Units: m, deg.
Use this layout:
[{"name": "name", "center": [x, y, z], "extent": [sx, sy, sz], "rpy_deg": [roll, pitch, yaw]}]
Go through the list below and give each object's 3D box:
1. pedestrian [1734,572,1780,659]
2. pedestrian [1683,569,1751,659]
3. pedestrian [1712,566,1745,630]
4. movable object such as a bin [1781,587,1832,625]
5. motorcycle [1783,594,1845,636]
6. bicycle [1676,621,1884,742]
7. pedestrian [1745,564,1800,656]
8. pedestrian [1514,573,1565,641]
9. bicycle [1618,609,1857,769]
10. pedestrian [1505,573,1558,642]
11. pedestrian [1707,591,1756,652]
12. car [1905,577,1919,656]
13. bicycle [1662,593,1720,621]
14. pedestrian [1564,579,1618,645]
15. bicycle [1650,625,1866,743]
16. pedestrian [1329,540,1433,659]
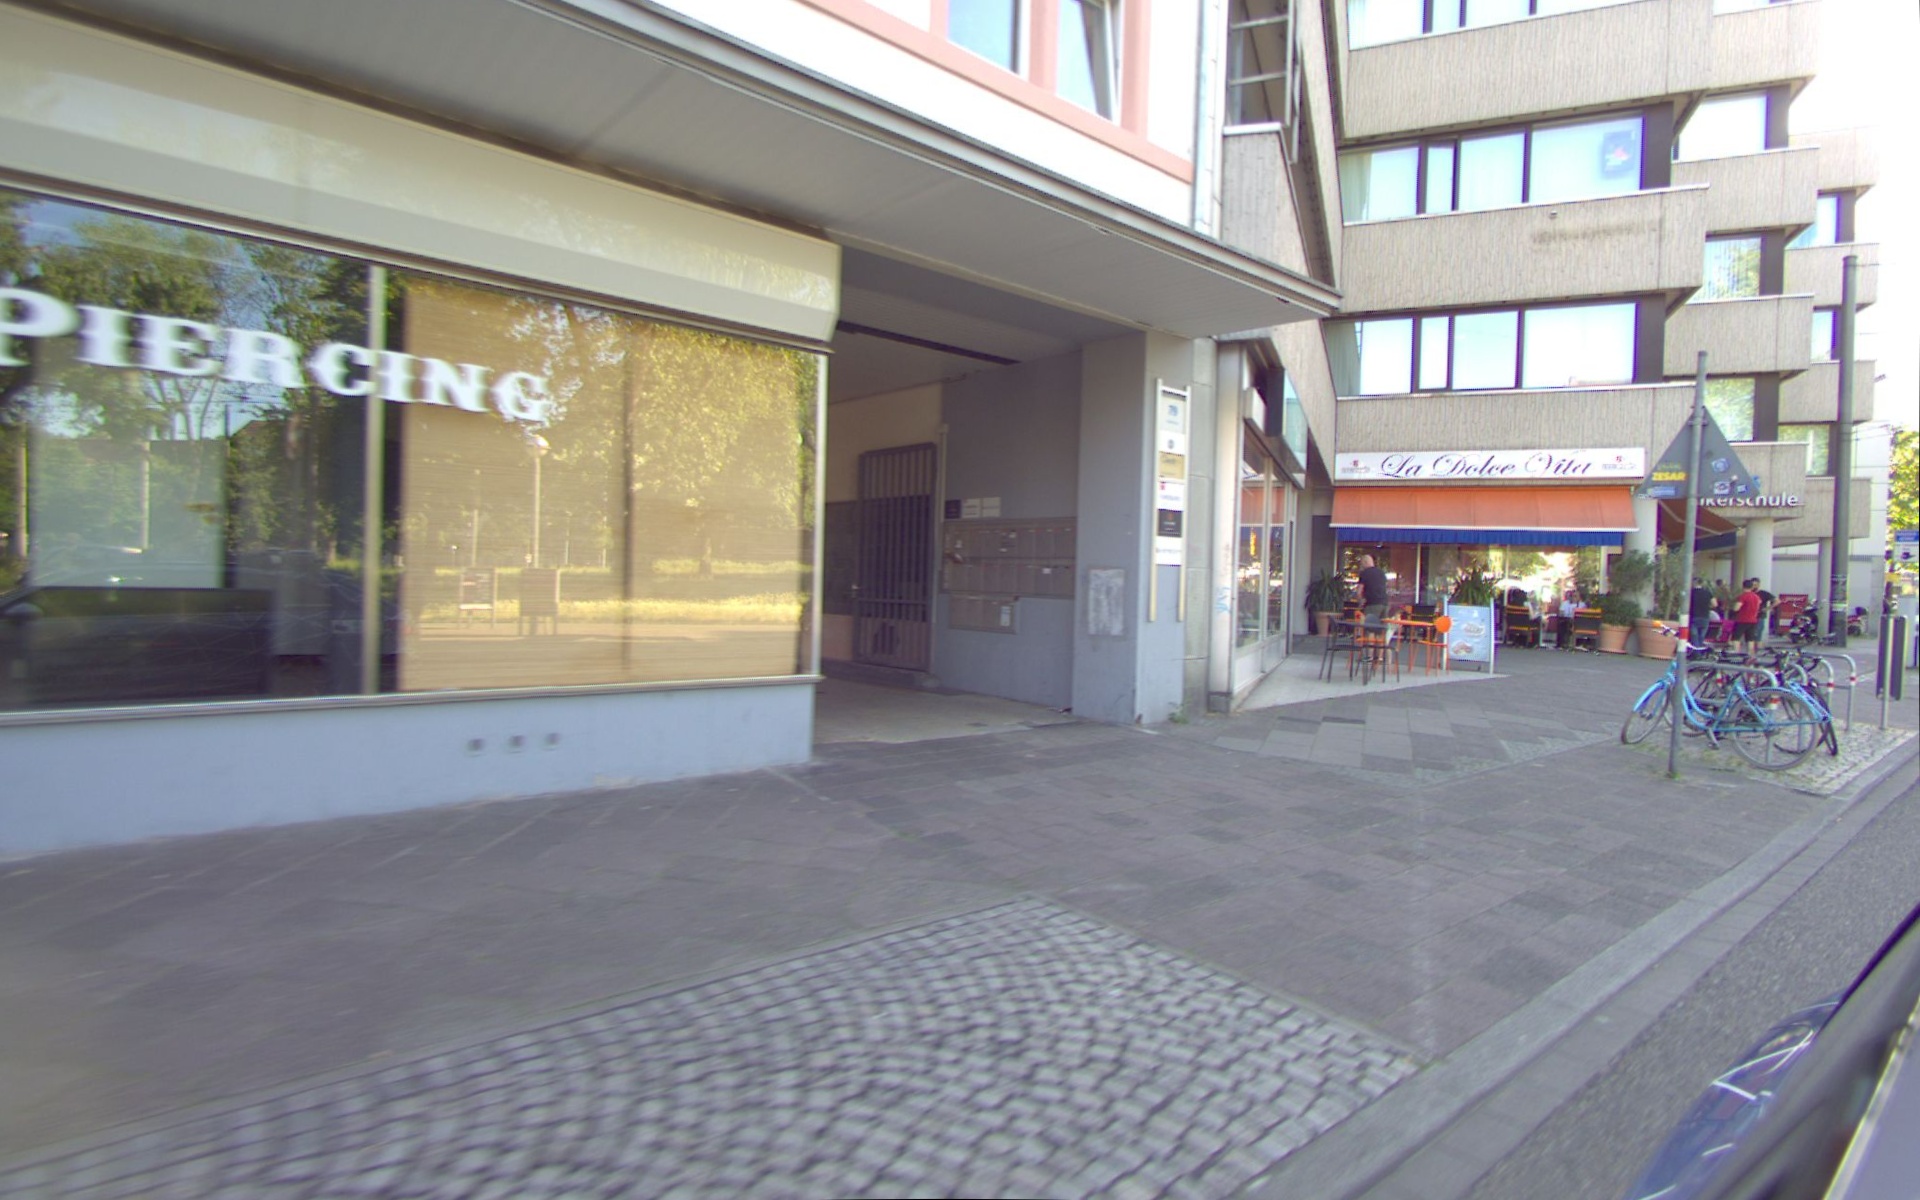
[{"name": "pedestrian", "center": [16.319, 0.298, 20.725], "extent": [0.685, 1.736, 0.585], "rpy_deg": [-1, 1, -38]}, {"name": "pedestrian", "center": [15.210, 0.267, 20.353], "extent": [0.834, 1.731, 0.715], "rpy_deg": [3, 2, 21]}, {"name": "pedestrian", "center": [22.339, -0.074, 29.414], "extent": [0.700, 1.838, 0.708], "rpy_deg": [0, 1, 33]}, {"name": "movable object such as a bin", "center": [33.141, 0.214, 39.639], "extent": [0.940, 1.451, 1.305], "rpy_deg": [-1, 1, -33]}, {"name": "motorcycle", "center": [25.921, 0.448, 30.714], "extent": [2.007, 1.168, 0.767], "rpy_deg": [-1, 4, -31]}, {"name": "bicycle", "center": [8.342, 0.785, 10.379], "extent": [0.336, 1.075, 1.688], "rpy_deg": [-1, 1, -24]}, {"name": "pedestrian", "center": [17.070, 0.189, 21.260], "extent": [0.599, 1.878, 0.673], "rpy_deg": [-1, 4, -37]}, {"name": "pedestrian", "center": [12.536, 0.139, 21.913], "extent": [0.835, 1.420, 0.824], "rpy_deg": [1, 0, 24]}, {"name": "bicycle", "center": [6.977, 0.739, 9.185], "extent": [0.645, 1.258, 1.630], "rpy_deg": [-1, 1, -20]}, {"name": "pedestrian", "center": [11.943, 0.154, 21.169], "extent": [0.833, 1.420, 0.748], "rpy_deg": [0, 0, 20]}, {"name": "pedestrian", "center": [16.487, 0.445, 21.634], "extent": [0.613, 1.251, 0.632], "rpy_deg": [-1, 4, -37]}, {"name": "car", "center": [24.394, 0.358, 24.364], "extent": [4.235, 1.835, 1.997], "rpy_deg": [-1, 1, -41]}, {"name": "bicycle", "center": [27.430, 0.247, 38.016], "extent": [0.668, 0.993, 1.860], "rpy_deg": [1, 0, -6]}, {"name": "pedestrian", "center": [13.321, 0.233, 21.374], "extent": [0.839, 1.307, 0.820], "rpy_deg": [4, 3, 37]}, {"name": "bicycle", "center": [7.996, 0.796, 10.231], "extent": [0.419, 1.016, 1.712], "rpy_deg": [-1, 1, -24]}, {"name": "pedestrian", "center": [6.565, -0.023, 15.812], "extent": [1.113, 1.764, 1.024], "rpy_deg": [-1, 1, -27]}]
